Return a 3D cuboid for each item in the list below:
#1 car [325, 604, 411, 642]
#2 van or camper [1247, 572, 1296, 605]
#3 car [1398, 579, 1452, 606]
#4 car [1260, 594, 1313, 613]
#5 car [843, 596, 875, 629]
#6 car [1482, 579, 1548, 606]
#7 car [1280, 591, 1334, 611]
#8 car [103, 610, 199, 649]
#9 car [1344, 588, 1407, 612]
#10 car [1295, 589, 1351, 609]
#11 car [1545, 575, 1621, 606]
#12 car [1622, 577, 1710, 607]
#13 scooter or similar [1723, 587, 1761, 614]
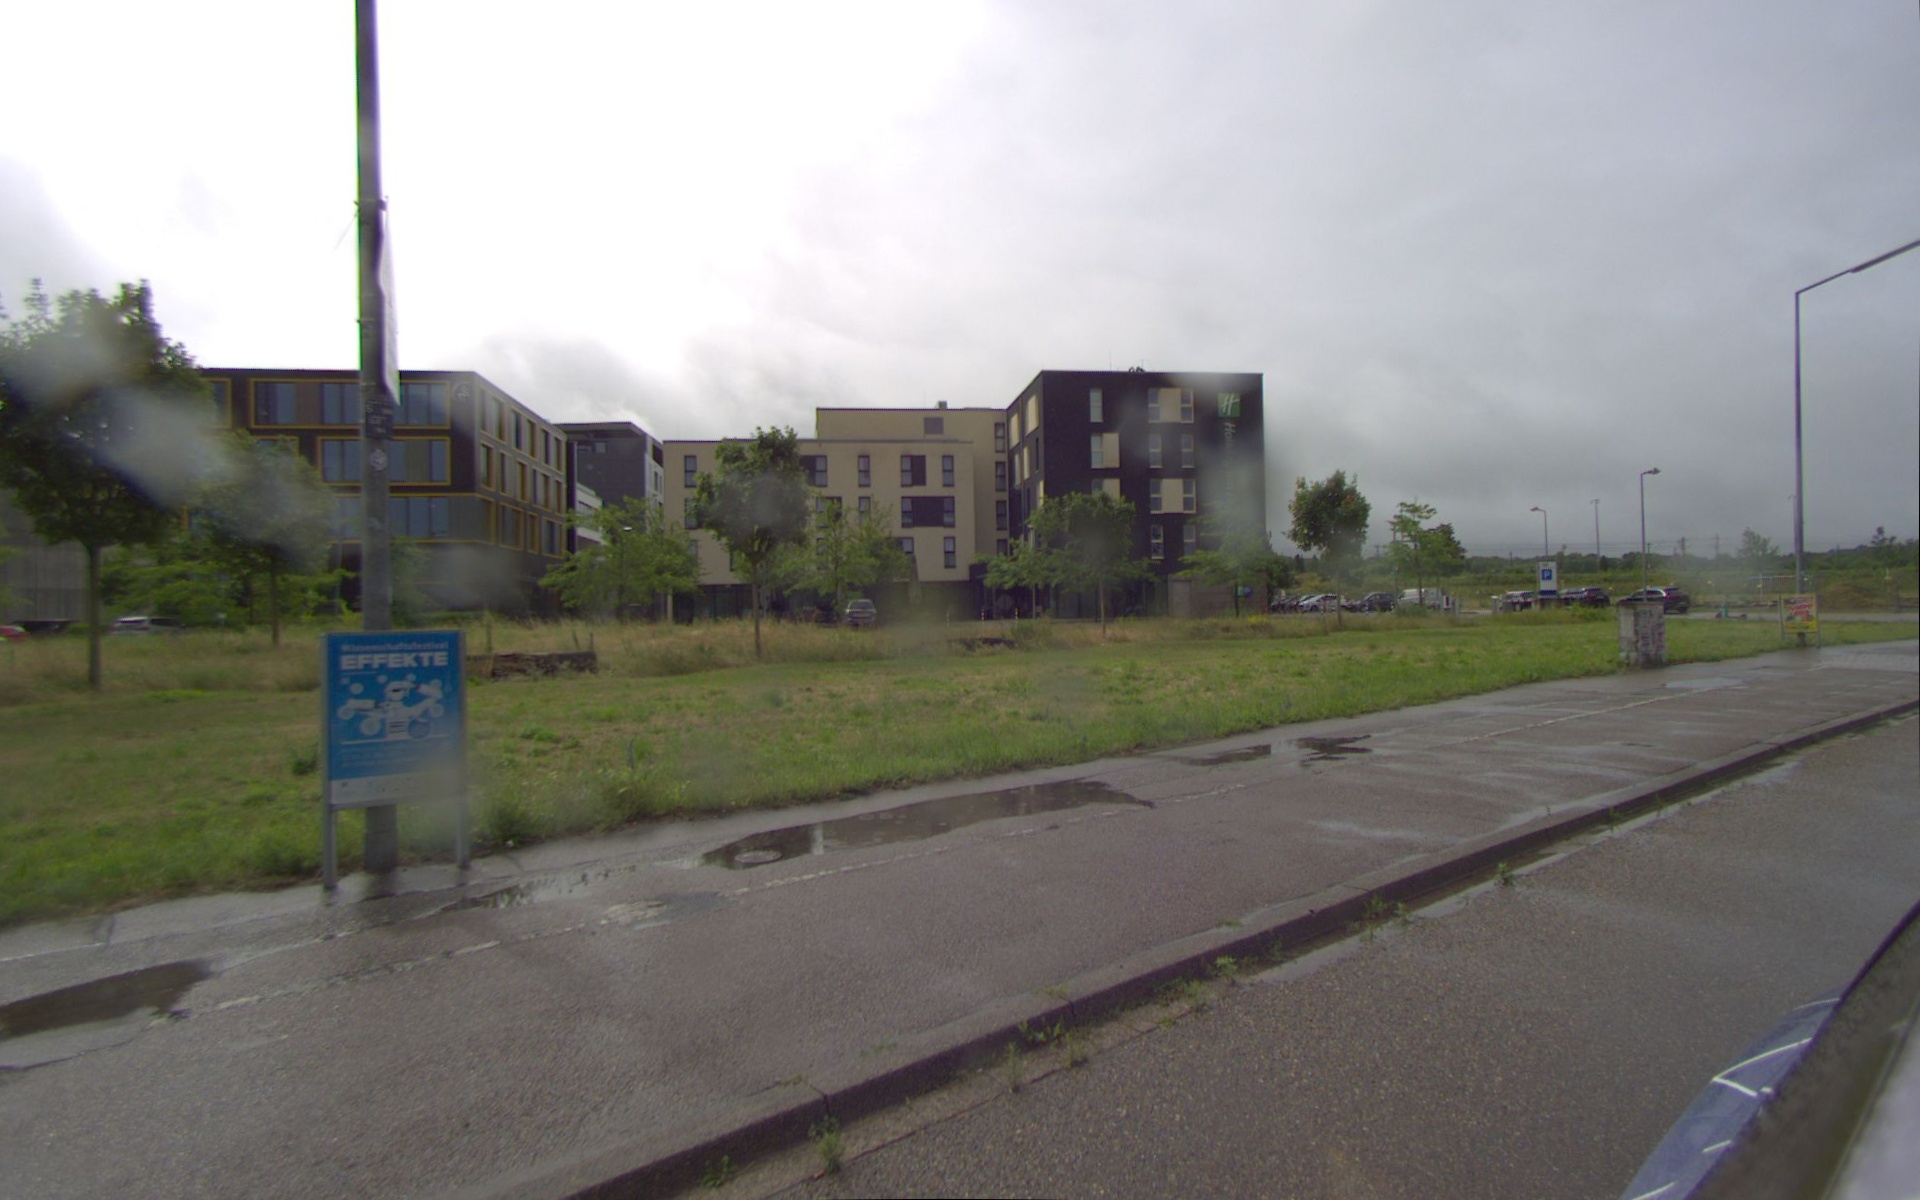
[{"bbox_3d":[-29.779,1.105,51.069,1.960,1.784,4.561,-1,0,-5],"label":"car"},{"bbox_3d":[35.206,-1.281,114.724,2.478,3.244,6.805,-1,-3,-8],"label":"van or camper"},{"bbox_3d":[38.683,-0.617,84.354,1.959,1.796,4.339,-1,-5,-7],"label":"car"},{"bbox_3d":[27.477,0.294,85.156,3.763,1.414,1.787,-1,-4,-9],"label":"car"},{"bbox_3d":[-5.377,0.629,54.218,1.633,1.577,4.223,-1,1,-5],"label":"car"},{"bbox_3d":[39.792,-0.525,72.669,1.958,1.663,4.005,-1,-3,-12],"label":"car"},{"bbox_3d":[28.275,0.102,82.447,3.704,1.414,1.645,-2,-2,-8],"label":"car"},{"bbox_3d":[-39.563,1.411,49.608,1.734,1.742,4.003,-1,0,-4],"label":"car"},{"bbox_3d":[29.818,-0.014,72.677,3.763,1.548,1.787,-1,-4,-9],"label":"car"},{"bbox_3d":[28.751,-0.063,80.165,3.729,1.414,1.770,-1,-4,-9],"label":"car"},{"bbox_3d":[41.097,-0.593,66.857,1.958,1.751,4.005,-1,-3,-12],"label":"car"},{"bbox_3d":[42.431,-0.442,60.929,1.959,1.638,4.007,-4,0,-12],"label":"car"},{"bbox_3d":[35.239,0.002,45.614,0.494,1.202,1.283,1,0,-38],"label":"scooter or similar"}]
